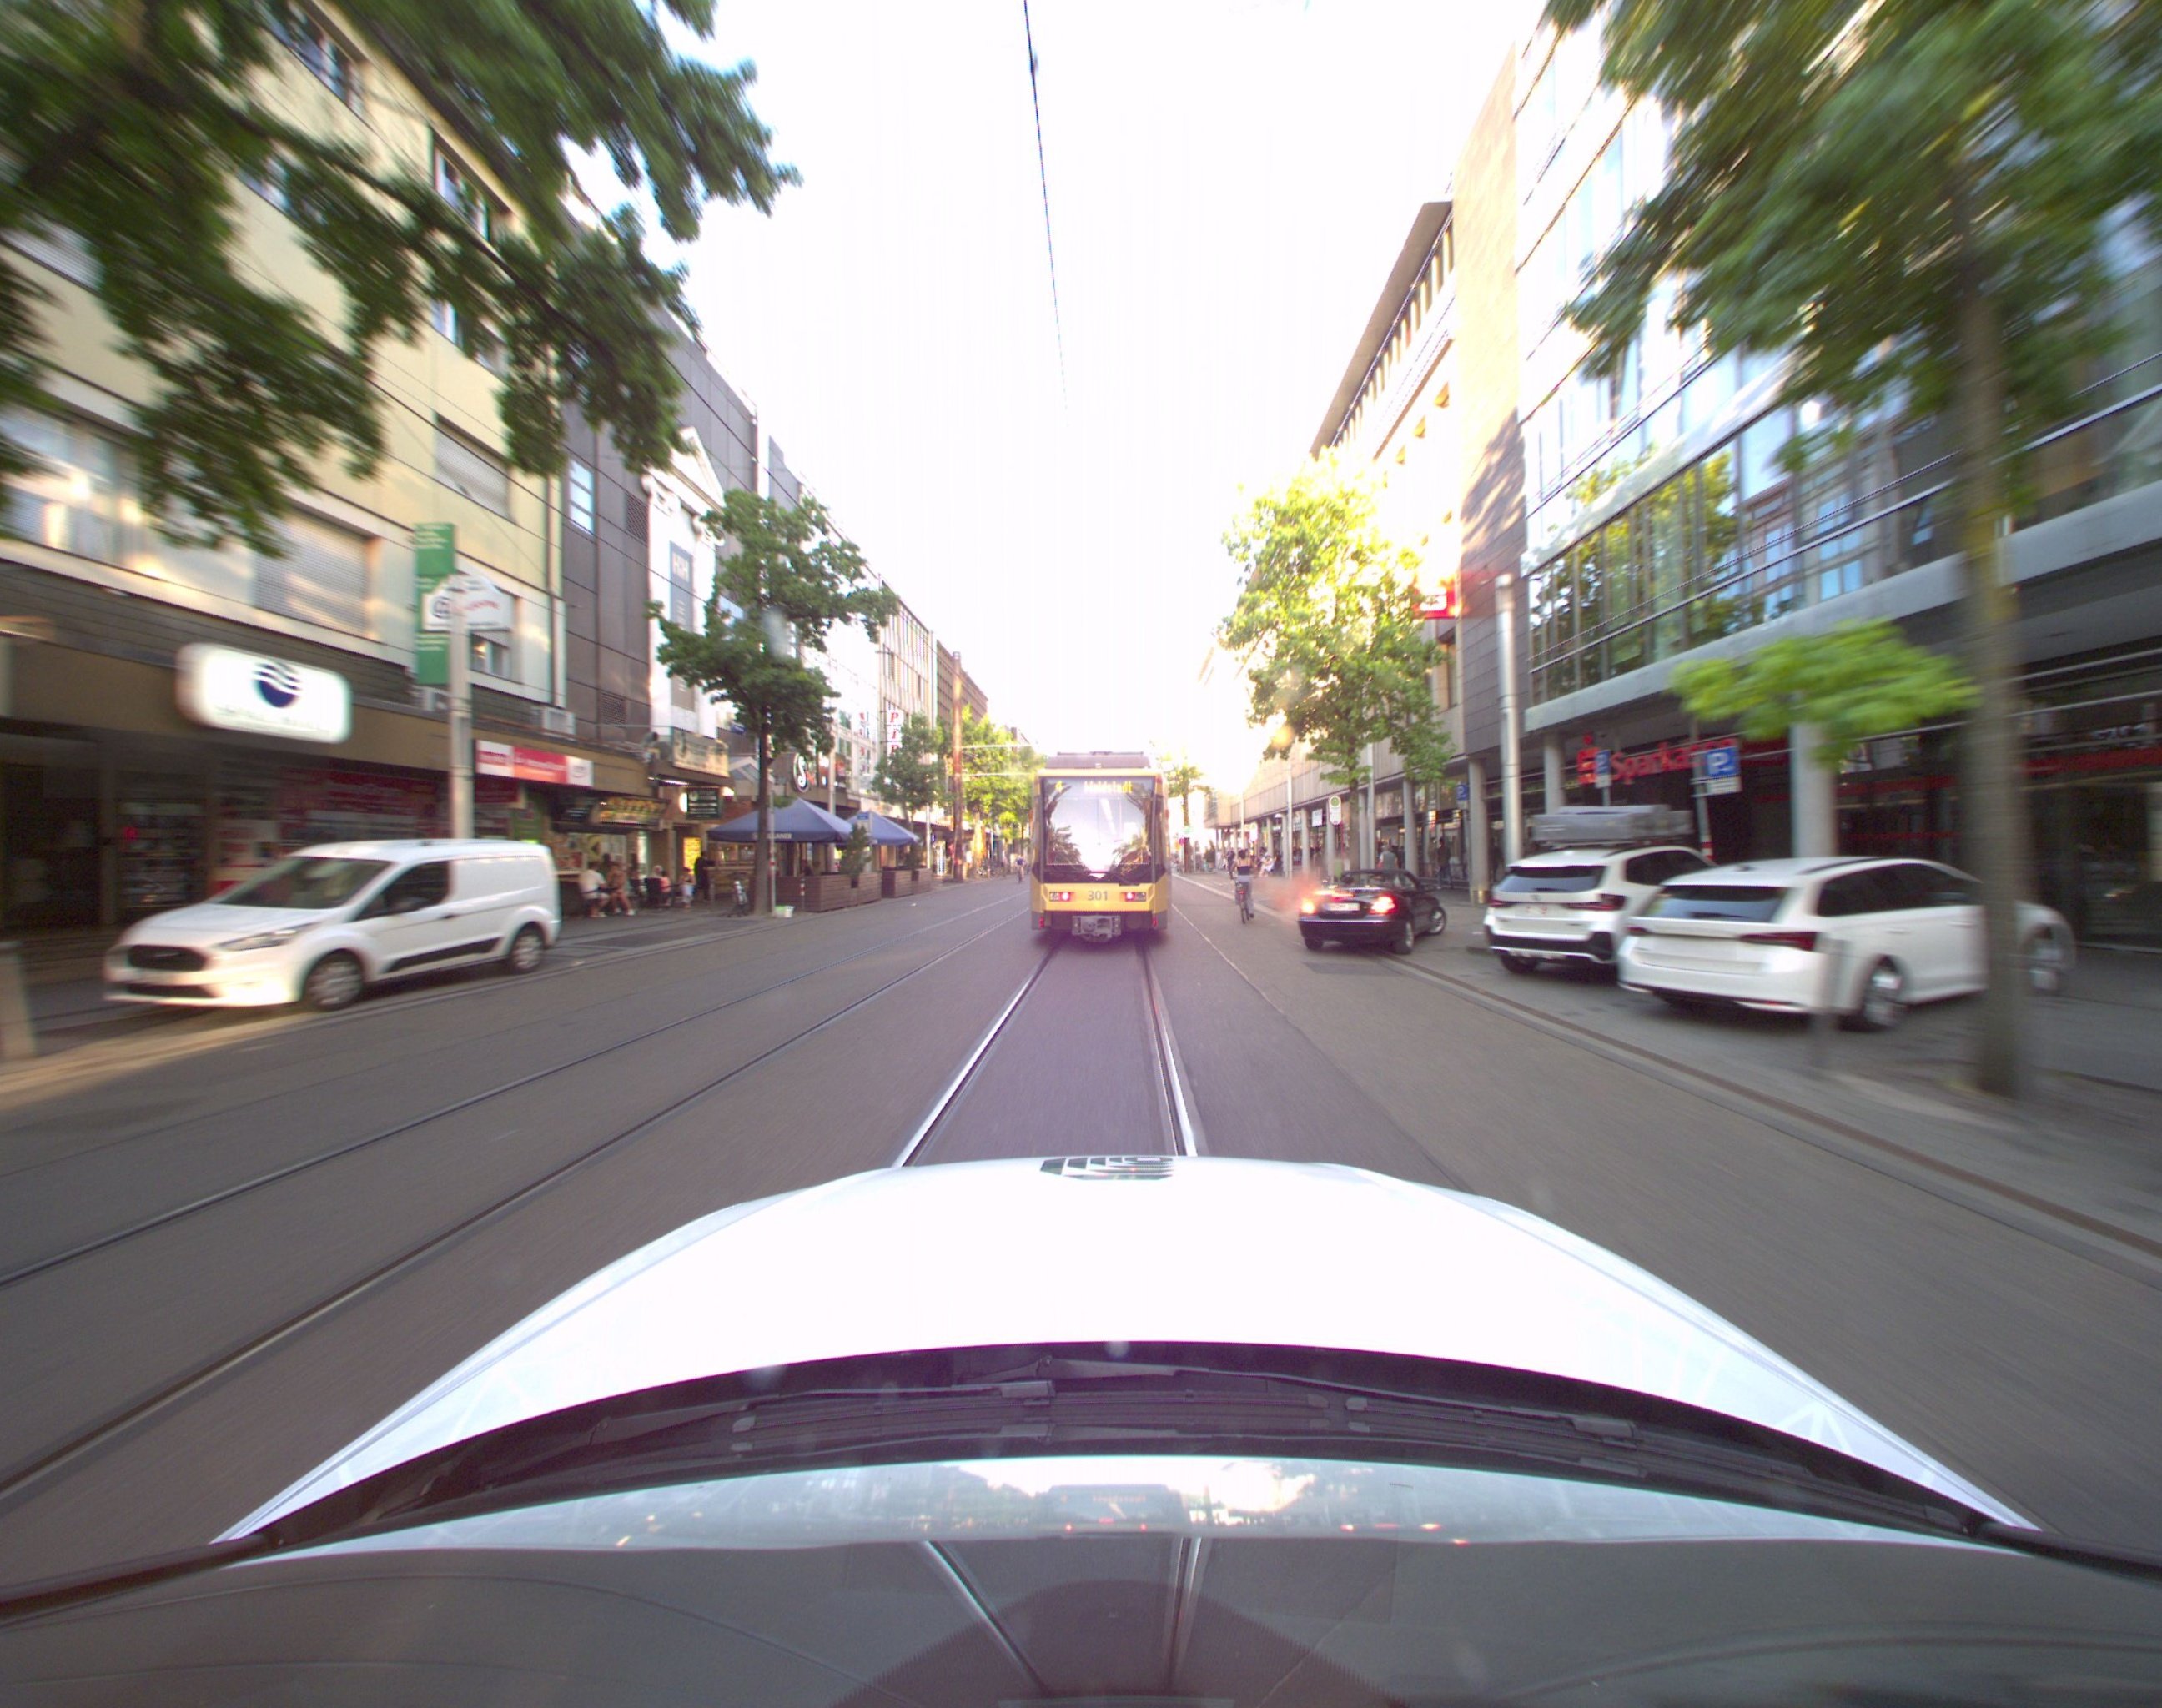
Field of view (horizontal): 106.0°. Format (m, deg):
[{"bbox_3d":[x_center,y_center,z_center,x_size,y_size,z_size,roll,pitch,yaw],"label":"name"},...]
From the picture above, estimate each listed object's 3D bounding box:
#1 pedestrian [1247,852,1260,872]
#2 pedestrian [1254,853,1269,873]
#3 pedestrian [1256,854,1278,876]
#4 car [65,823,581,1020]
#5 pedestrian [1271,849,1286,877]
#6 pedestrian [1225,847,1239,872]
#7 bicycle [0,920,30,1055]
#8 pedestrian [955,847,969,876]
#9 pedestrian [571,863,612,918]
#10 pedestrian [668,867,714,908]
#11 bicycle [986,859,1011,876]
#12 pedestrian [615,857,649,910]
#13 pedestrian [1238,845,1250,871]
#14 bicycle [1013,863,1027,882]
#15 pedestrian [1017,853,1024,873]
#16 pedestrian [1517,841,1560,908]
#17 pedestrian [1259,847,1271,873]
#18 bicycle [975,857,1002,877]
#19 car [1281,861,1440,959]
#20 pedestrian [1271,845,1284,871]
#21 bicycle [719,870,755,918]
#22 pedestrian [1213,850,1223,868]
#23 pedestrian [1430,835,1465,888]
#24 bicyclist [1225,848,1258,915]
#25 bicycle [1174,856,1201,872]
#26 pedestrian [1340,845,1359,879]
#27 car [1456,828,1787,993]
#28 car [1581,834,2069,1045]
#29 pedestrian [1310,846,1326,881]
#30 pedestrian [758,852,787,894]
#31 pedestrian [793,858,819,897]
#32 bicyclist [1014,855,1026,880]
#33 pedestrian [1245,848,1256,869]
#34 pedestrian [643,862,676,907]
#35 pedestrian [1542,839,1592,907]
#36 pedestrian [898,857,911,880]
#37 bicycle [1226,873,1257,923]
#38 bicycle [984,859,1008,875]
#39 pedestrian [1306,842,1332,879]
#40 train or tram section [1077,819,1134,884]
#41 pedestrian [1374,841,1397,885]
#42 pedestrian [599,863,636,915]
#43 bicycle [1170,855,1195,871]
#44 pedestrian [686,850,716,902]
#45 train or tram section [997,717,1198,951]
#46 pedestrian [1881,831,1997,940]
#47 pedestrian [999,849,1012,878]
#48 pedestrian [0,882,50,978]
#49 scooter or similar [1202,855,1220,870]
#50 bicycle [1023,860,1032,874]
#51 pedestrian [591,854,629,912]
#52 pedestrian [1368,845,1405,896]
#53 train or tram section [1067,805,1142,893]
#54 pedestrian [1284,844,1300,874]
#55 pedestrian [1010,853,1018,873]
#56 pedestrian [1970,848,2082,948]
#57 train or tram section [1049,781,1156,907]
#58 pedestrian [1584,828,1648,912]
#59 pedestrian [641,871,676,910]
[{"bbox_3d":[11.880,0.568,56.049,0.736,1.328,0.721,-3,1,3],"label":"pedestrian"},{"bbox_3d":[12.019,0.599,54.243,0.802,1.328,0.626,-3,1,3],"label":"pedestrian"},{"bbox_3d":[11.524,0.682,50.487,1.107,1.328,0.927,-3,0,3],"label":"pedestrian"},{"bbox_3d":[-8.553,0.658,9.939,1.786,1.818,4.521,1,-1,4],"label":"car"},{"bbox_3d":[11.888,0.533,49.061,0.698,1.637,0.646,-3,1,3],"label":"pedestrian"},{"bbox_3d":[10.936,0.377,59.057,0.885,1.782,0.751,0,-1,1],"label":"pedestrian"},{"bbox_3d":[-9.503,1.108,6.046,0.605,1.068,2.032,-1,0,32],"label":"bicycle"},{"bbox_3d":[-8.475,0.552,58.089,0.845,2.014,0.922,0,-1,2],"label":"pedestrian"},{"bbox_3d":[-11.561,0.855,19.252,0.509,1.242,0.661,2,-1,3],"label":"pedestrian"},{"bbox_3d":[-11.125,0.954,23.236,0.816,1.120,0.781,2,-1,12],"label":"pedestrian"},{"bbox_3d":[-5.945,0.970,58.436,1.730,1.126,0.612,2,-1,-4],"label":"bicycle"},{"bbox_3d":[-11.950,0.781,21.700,0.440,1.373,0.608,2,-1,12],"label":"pedestrian"},{"bbox_3d":[11.190,0.293,55.841,0.745,1.782,0.892,0,-1,6],"label":"pedestrian"},{"bbox_3d":[-3.482,1.052,46.657,0.639,1.023,1.589,1,0,0],"label":"bicycle"},{"bbox_3d":[-5.004,0.732,67.314,0.549,1.687,0.575,2,-1,-2],"label":"pedestrian"},{"bbox_3d":[11.443,0.505,20.380,0.594,1.616,0.756,-3,1,2],"label":"pedestrian"},{"bbox_3d":[13.712,0.450,60.706,0.698,1.839,0.830,-3,1,3],"label":"pedestrian"},{"bbox_3d":[-6.428,0.891,56.698,1.797,1.360,0.658,2,-1,-10],"label":"bicycle"},{"bbox_3d":[5.125,0.867,14.504,1.784,1.348,4.474,-1,0,31],"label":"car"},{"bbox_3d":[14.359,0.313,59.543,0.698,1.839,0.830,-3,1,3],"label":"pedestrian"},{"bbox_3d":[-9.009,1.015,21.325,0.815,1.103,2.149,-1,0,-23],"label":"bicycle"},{"bbox_3d":[12.578,0.459,74.793,0.698,1.684,0.681,-3,1,3],"label":"pedestrian"},{"bbox_3d":[13.255,0.257,29.465,0.829,1.836,0.944,-2,1,3],"label":"pedestrian"},{"bbox_3d":[3.793,0.640,19.246,0.722,1.527,0.736,1,-1,11],"label":"bicyclist"},{"bbox_3d":[9.668,0.881,73.919,2.322,1.472,0.791,0,-1,-1],"label":"bicycle"},{"bbox_3d":[13.283,0.404,40.303,0.594,1.616,0.830,-3,1,3],"label":"pedestrian"},{"bbox_3d":[7.201,0.604,10.779,4.220,1.637,1.903,-4,0,-30],"label":"car"},{"bbox_3d":[7.339,0.678,8.070,4.186,1.457,1.851,-4,0,-21],"label":"car"},{"bbox_3d":[12.687,0.497,43.648,0.594,1.839,0.830,-3,1,3],"label":"pedestrian"},{"bbox_3d":[-9.614,0.596,25.397,0.601,1.256,0.561,2,-1,4],"label":"pedestrian"},{"bbox_3d":[-9.011,0.773,26.697,0.556,1.256,0.606,2,-1,3],"label":"pedestrian"},{"bbox_3d":[-3.488,0.783,46.713,0.618,1.416,0.700,0,-1,0],"label":"bicyclist"},{"bbox_3d":[13.711,0.344,65.741,0.698,1.684,0.681,-3,1,3],"label":"pedestrian"},{"bbox_3d":[-11.986,0.857,23.170,0.556,1.258,0.607,1,-1,7],"label":"pedestrian"},{"bbox_3d":[12.019,0.451,20.167,0.594,1.616,1.022,-3,1,2],"label":"pedestrian"},{"bbox_3d":[-10.471,0.844,48.284,0.571,1.319,0.726,2,-1,3],"label":"pedestrian"},{"bbox_3d":[3.782,1.010,19.233,0.651,1.060,2.063,1,0,11],"label":"bicycle"},{"bbox_3d":[-6.333,1.005,60.885,1.728,1.126,0.563,2,-1,-2],"label":"bicycle"},{"bbox_3d":[12.730,0.345,43.536,1.049,1.876,0.930,-3,1,3],"label":"pedestrian"},{"bbox_3d":[1.519,-0.105,49.308,3.033,3.523,10.535,0,0,2],"label":"train or tram section"},{"bbox_3d":[11.641,0.336,31.151,0.594,1.616,0.756,-3,1,3],"label":"pedestrian"},{"bbox_3d":[-11.501,0.855,20.216,0.520,1.256,0.587,2,-1,3],"label":"pedestrian"},{"bbox_3d":[9.729,0.876,78.014,2.322,1.472,0.791,0,-1,-1],"label":"bicycle"},{"bbox_3d":[-11.956,0.686,25.611,0.601,1.597,0.561,1,-1,4],"label":"pedestrian"},{"bbox_3d":[0.430,-0.266,17.584,3.005,3.524,10.375,-1,0,2],"label":"train or tram section"},{"bbox_3d":[12.574,0.455,11.975,0.657,1.527,0.974,-1,-1,5],"label":"pedestrian"},{"bbox_3d":[-5.009,0.639,53.786,0.749,1.880,0.575,2,-1,-2],"label":"pedestrian"},{"bbox_3d":[-13.159,0.904,9.697,0.774,1.095,0.730,2,-1,2],"label":"pedestrian"},{"bbox_3d":[10.894,0.726,68.438,1.380,1.210,0.513,-1,-1,-11],"label":"scooter or similar"},{"bbox_3d":[-4.388,1.058,66.863,0.610,1.126,2.249,2,-1,-2],"label":"bicycle"},{"bbox_3d":[-12.084,0.731,20.899,0.607,1.434,0.512,2,-1,5],"label":"pedestrian"},{"bbox_3d":[9.582,0.503,25.535,0.874,1.581,0.756,0,1,2],"label":"pedestrian"},{"bbox_3d":[1.152,-0.184,38.611,2.992,3.523,10.850,-1,0,2],"label":"train or tram section"},{"bbox_3d":[13.018,0.292,50.264,0.698,1.839,0.830,-3,1,3],"label":"pedestrian"},{"bbox_3d":[-5.624,0.749,67.989,0.573,1.687,0.551,2,-1,-7],"label":"pedestrian"},{"bbox_3d":[12.738,0.581,11.000,0.630,1.291,0.733,-1,-1,5],"label":"pedestrian"},{"bbox_3d":[0.783,-0.255,27.977,2.996,3.523,10.406,0,0,2],"label":"train or tram section"},{"bbox_3d":[11.771,0.343,17.945,0.874,1.782,0.756,-3,1,2],"label":"pedestrian"},{"bbox_3d":[-11.412,0.978,22.001,0.448,1.029,0.666,2,-1,32],"label":"pedestrian"}]
